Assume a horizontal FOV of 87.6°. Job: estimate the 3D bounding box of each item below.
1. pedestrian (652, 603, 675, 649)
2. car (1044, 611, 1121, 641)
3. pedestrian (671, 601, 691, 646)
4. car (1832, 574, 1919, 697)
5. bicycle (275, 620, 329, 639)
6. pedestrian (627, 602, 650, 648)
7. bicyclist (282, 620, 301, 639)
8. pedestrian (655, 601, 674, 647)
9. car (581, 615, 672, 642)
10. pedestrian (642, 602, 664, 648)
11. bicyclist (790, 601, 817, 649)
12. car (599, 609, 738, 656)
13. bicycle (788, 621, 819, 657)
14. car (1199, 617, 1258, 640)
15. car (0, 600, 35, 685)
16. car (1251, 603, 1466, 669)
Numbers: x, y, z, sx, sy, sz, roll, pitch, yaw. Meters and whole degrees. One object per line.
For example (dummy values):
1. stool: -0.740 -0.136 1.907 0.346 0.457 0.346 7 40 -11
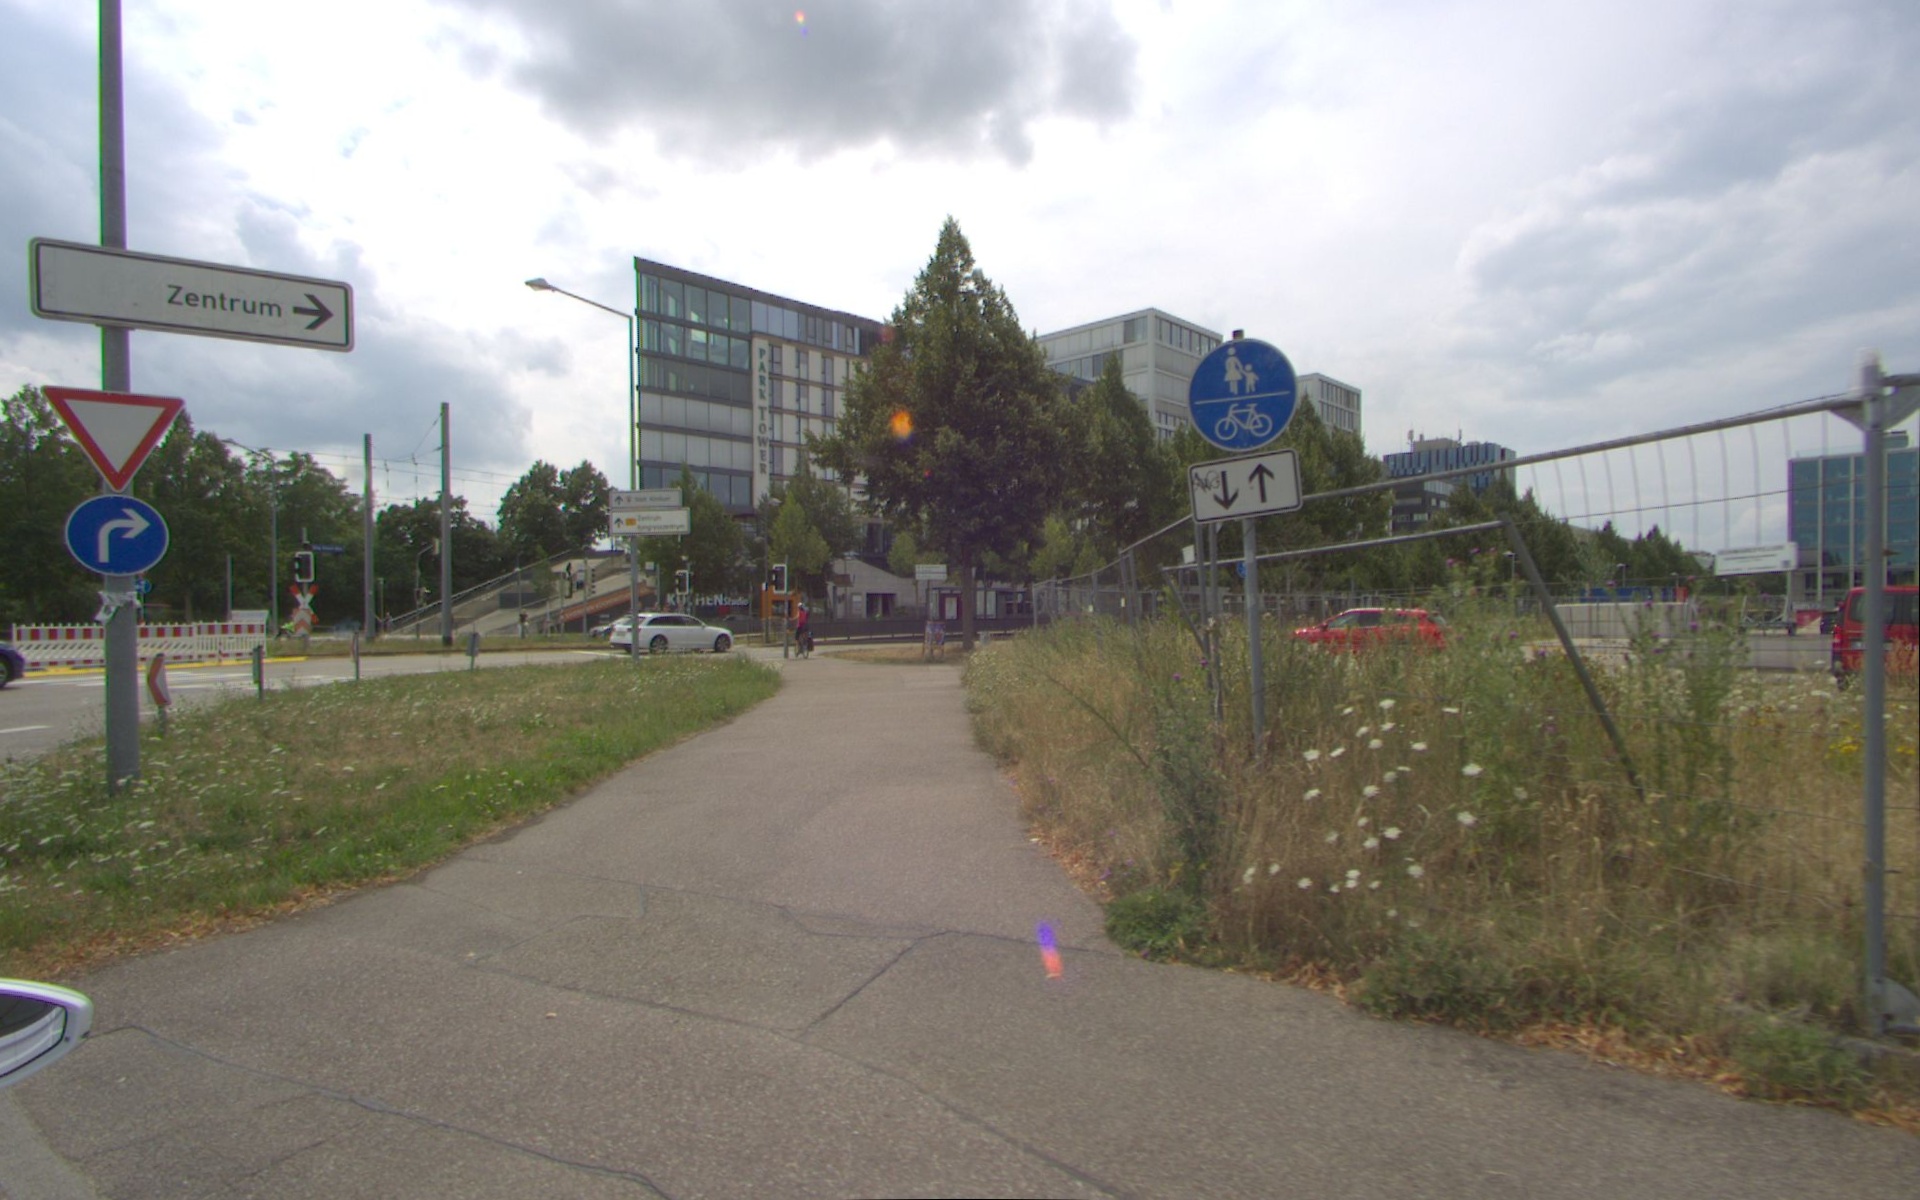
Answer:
1. pedestrian: -11.797 1.029 39.830 0.546 1.805 0.685 0 0 38
2. car: 7.041 1.468 57.204 1.978 1.639 4.711 -1 -1 43
3. pedestrian: -11.281 0.956 40.519 0.546 1.805 0.576 0 0 39
4. car: 17.134 0.581 17.321 4.924 1.936 1.922 1 2 -35
5. bicycle: -32.954 1.486 50.207 2.166 0.950 0.613 0 -2 -19
6. pedestrian: -12.733 1.001 39.700 0.546 1.805 0.685 0 0 38
7. bicyclist: -33.419 1.475 50.050 0.647 0.895 0.606 0 -2 -19
8. pedestrian: -12.051 0.973 40.841 0.546 1.886 0.527 0 0 39
9. car: -19.104 1.584 57.544 1.830 1.477 4.693 0 -1 45
10. pedestrian: -12.357 1.006 40.294 0.546 1.805 0.629 0 0 38
11. bicyclist: -5.383 0.852 34.431 0.778 1.649 1.047 0 0 -18
12. car: -10.804 1.182 37.359 1.976 1.639 4.718 -1 -1 39
13. bicycle: -5.428 1.335 34.555 0.777 1.183 2.037 0 0 -17
14. car: 16.834 1.771 62.700 1.979 1.392 3.964 0 0 43
15. car: -18.124 0.747 16.569 1.766 1.517 4.117 0 -1 1
16. car: 10.582 0.930 26.793 5.075 1.625 1.777 -1 -1 38
